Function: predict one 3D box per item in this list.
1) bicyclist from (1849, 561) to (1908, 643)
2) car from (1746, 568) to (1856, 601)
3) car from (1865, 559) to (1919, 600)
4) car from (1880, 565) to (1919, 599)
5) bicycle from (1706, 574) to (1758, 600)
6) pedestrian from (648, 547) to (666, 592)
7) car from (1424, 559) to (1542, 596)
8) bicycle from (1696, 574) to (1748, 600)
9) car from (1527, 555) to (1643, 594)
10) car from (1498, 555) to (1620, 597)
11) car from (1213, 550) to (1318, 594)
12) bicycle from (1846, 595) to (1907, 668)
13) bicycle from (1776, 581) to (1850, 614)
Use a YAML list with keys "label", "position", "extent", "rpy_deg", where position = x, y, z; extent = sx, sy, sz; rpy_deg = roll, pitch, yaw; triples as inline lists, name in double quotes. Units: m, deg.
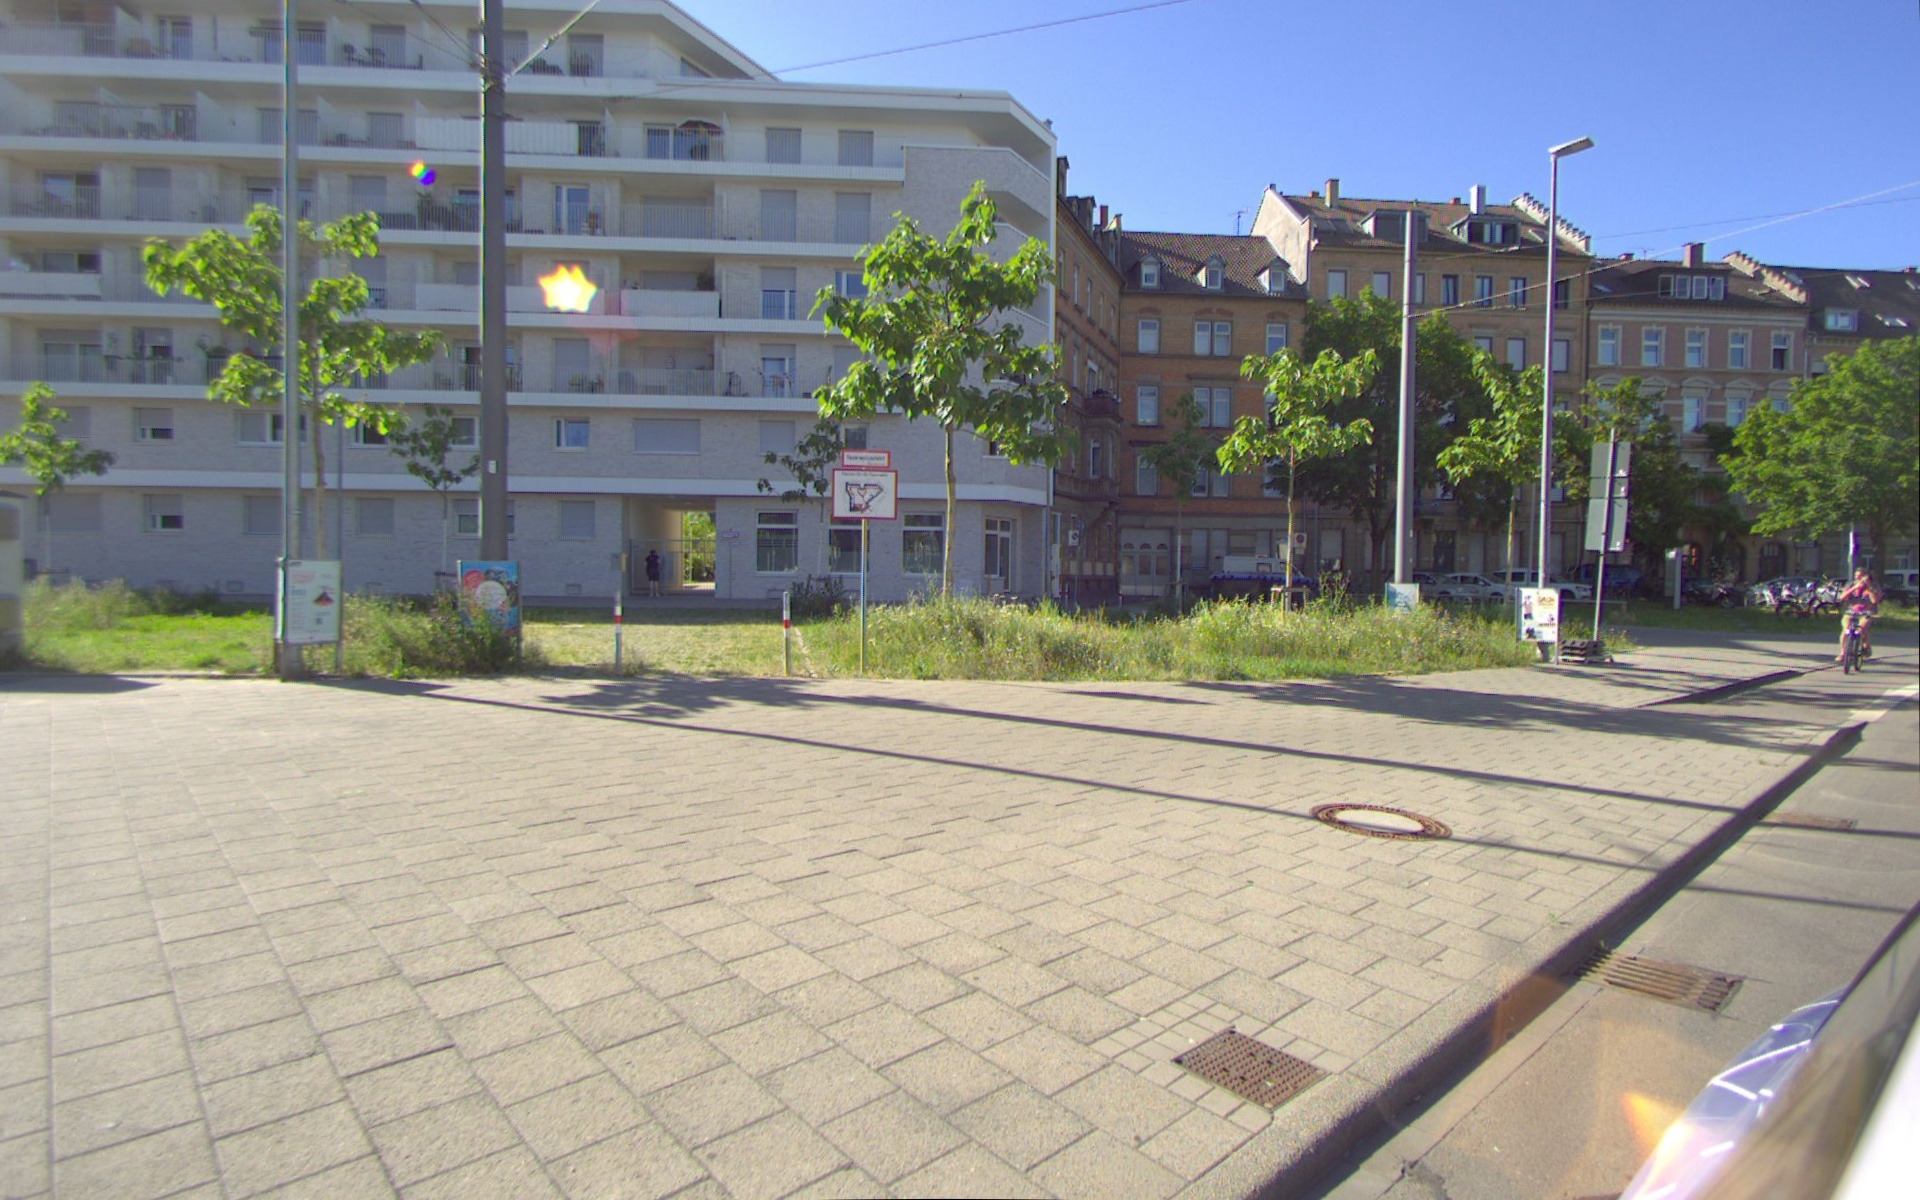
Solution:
- label: "bicyclist"
  position: [16.355, 0.012, 18.018]
  extent: [0.695, 1.393, 0.726]
  rpy_deg: [4, 5, 45]
- label: "car"
  position: [36.816, -0.707, 44.351]
  extent: [1.701, 1.348, 3.462]
  rpy_deg: [-1, 2, -40]
- label: "car"
  position: [43.084, -0.907, 44.451]
  extent: [1.701, 1.793, 4.789]
  rpy_deg: [-1, 2, -39]
- label: "car"
  position: [45.218, -0.806, 46.321]
  extent: [1.965, 1.525, 4.396]
  rpy_deg: [-1, 2, -40]
- label: "bicycle"
  position: [31.887, -0.549, 41.822]
  extent: [0.442, 1.037, 1.766]
  rpy_deg: [0, 2, -17]
- label: "pedestrian"
  position: [-11.263, -1.135, 37.627]
  extent: [0.513, 1.668, 0.471]
  rpy_deg: [0, 1, 1]
- label: "car"
  position: [21.994, -0.953, 42.661]
  extent: [1.965, 1.482, 3.996]
  rpy_deg: [-1, 2, -40]
- label: "bicycle"
  position: [31.124, -0.534, 41.369]
  extent: [0.442, 1.037, 1.766]
  rpy_deg: [0, 2, -17]
- label: "car"
  position: [28.070, -1.171, 45.541]
  extent: [1.965, 1.682, 3.996]
  rpy_deg: [-1, 2, -40]
- label: "car"
  position: [25.196, -1.030, 42.665]
  extent: [1.965, 1.682, 3.996]
  rpy_deg: [-1, 2, -40]
- label: "car"
  position: [15.142, -1.394, 50.351]
  extent: [4.551, 2.139, 2.002]
  rpy_deg: [0, 1, -3]
- label: "bicycle"
  position: [16.274, 0.526, 17.955]
  extent: [0.695, 1.118, 1.980]
  rpy_deg: [4, 5, 44]
- label: "bicycle"
  position: [27.729, -0.094, 32.919]
  extent: [1.741, 1.037, 0.565]
  rpy_deg: [1, 1, 22]
